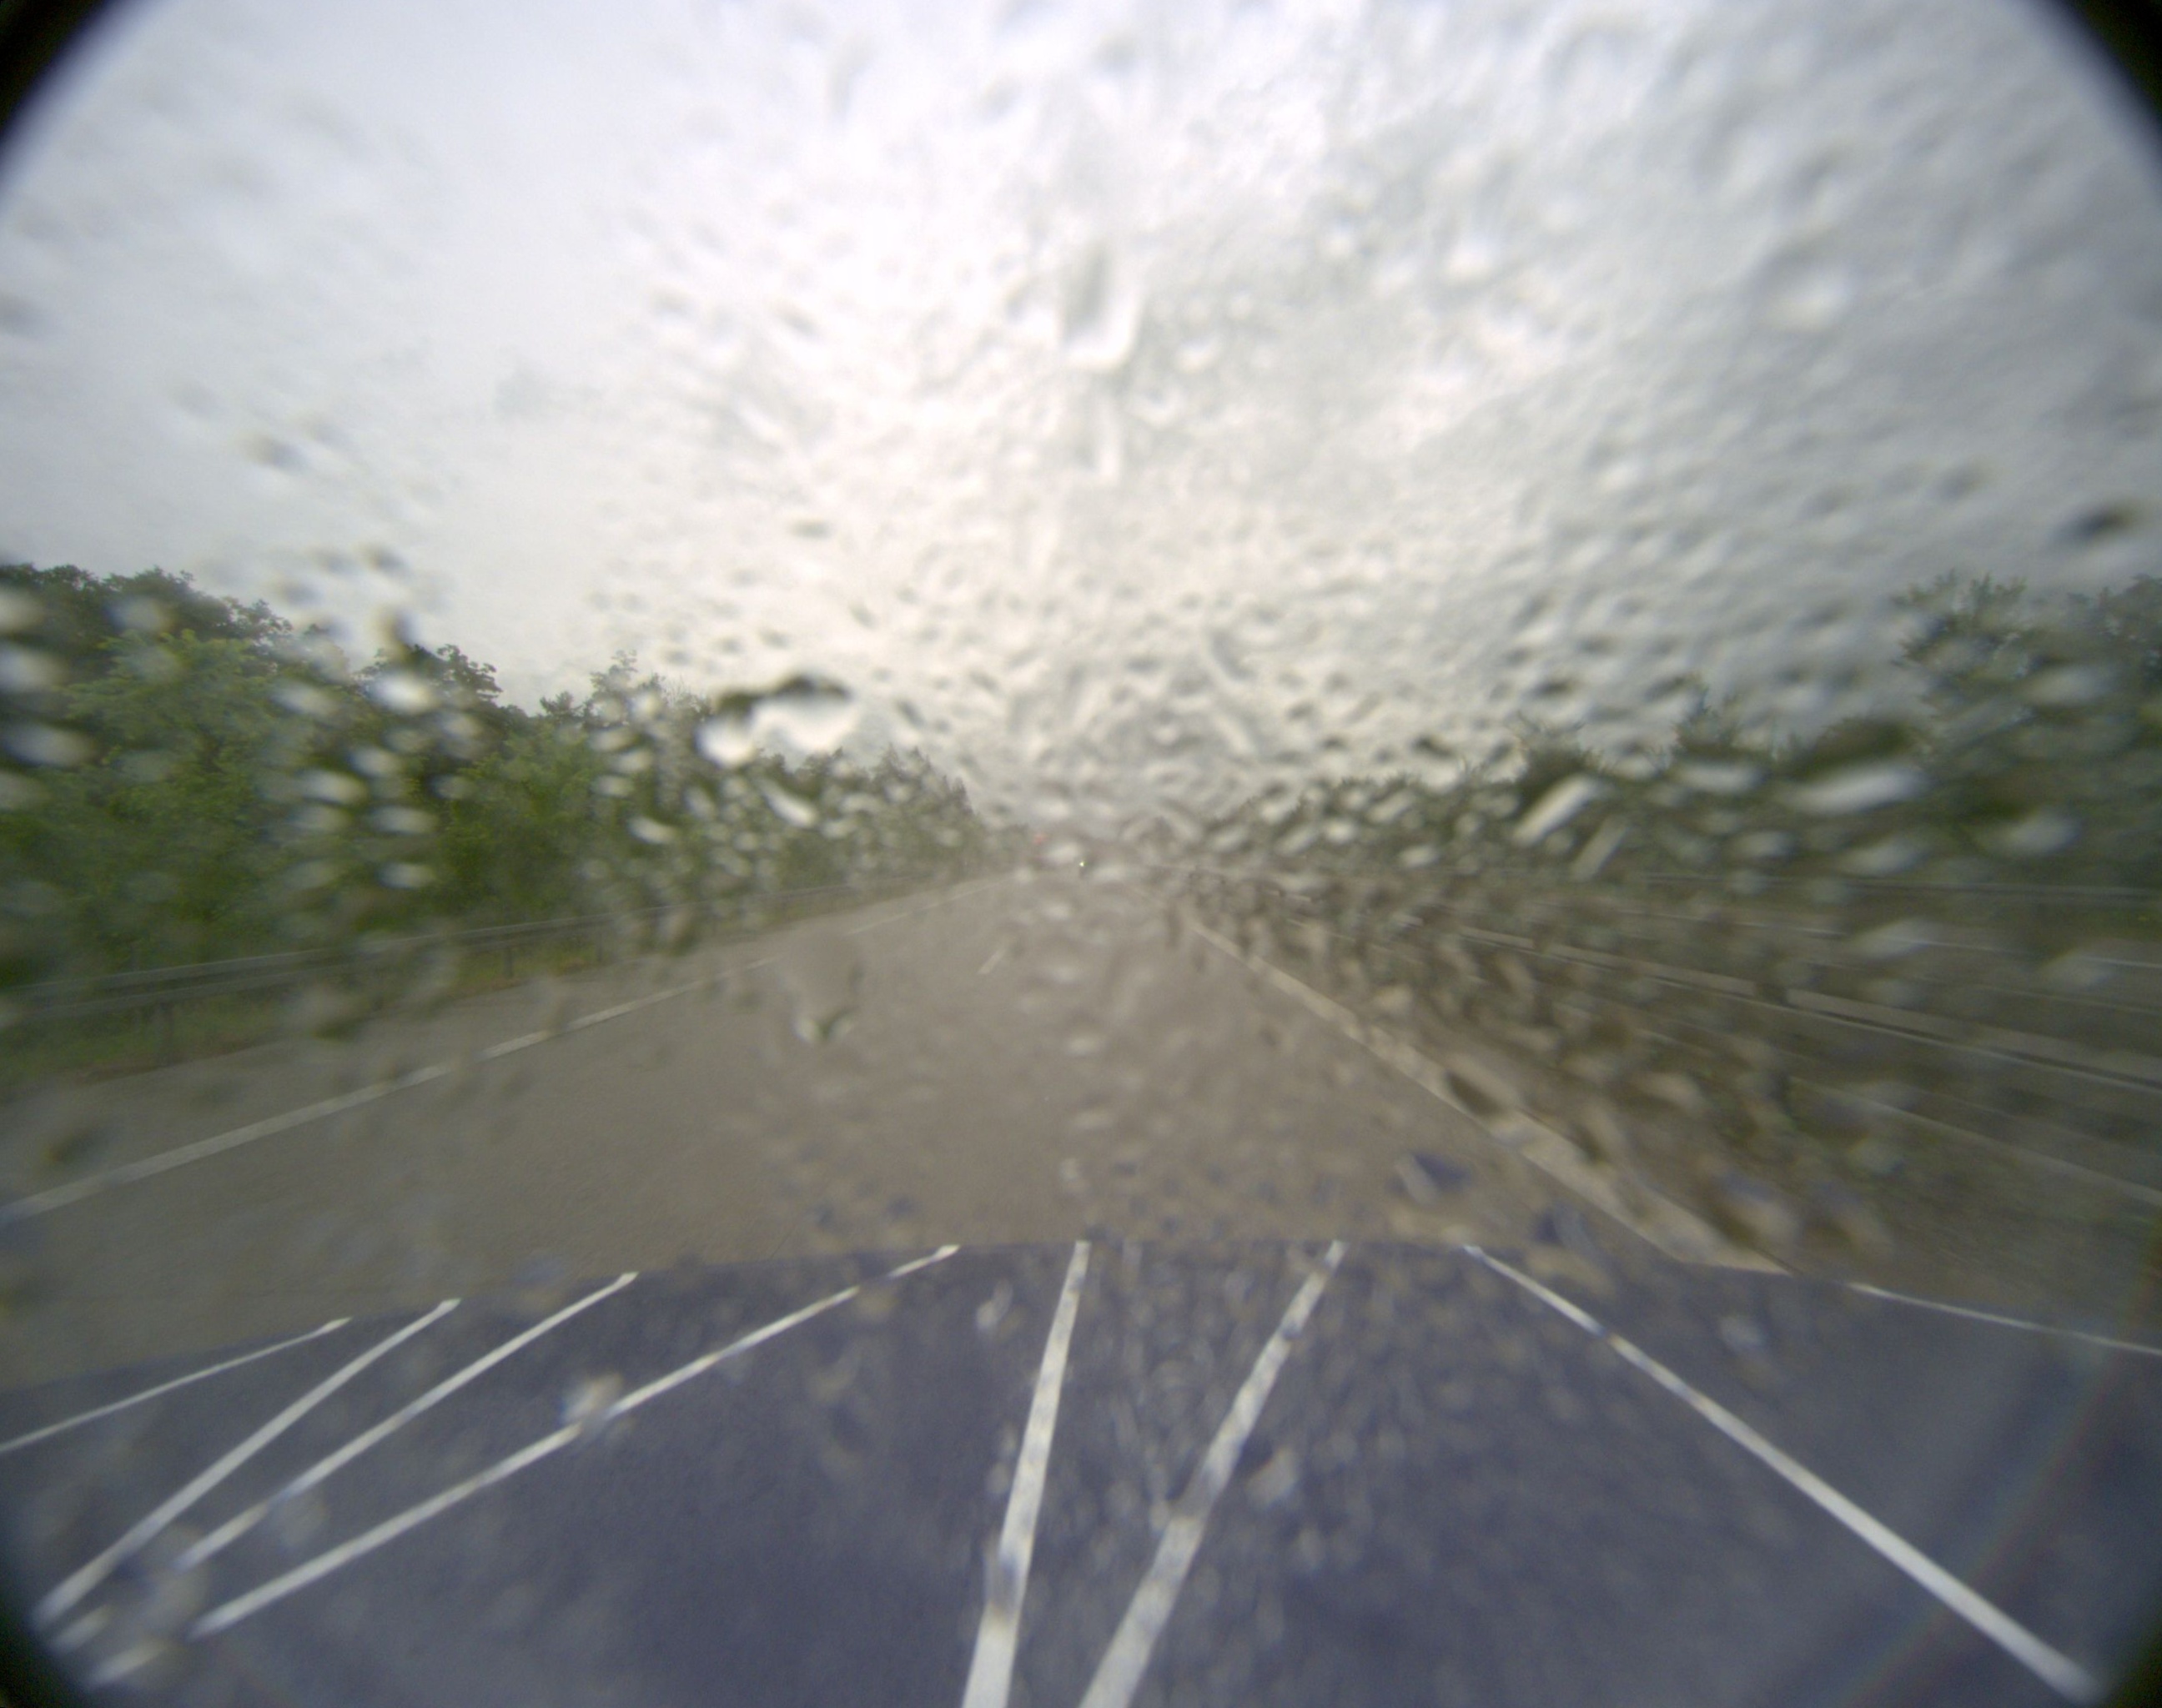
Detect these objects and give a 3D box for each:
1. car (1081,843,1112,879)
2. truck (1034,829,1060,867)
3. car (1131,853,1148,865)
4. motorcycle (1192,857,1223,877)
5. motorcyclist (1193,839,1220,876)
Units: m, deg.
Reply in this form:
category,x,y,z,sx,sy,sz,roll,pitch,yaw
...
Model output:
category,x,y,z,sx,sy,sz,roll,pitch,yaw
car,0.911,0.434,47.652,1.795,2.113,4.524,1,-1,-1
truck,-3.782,-0.637,86.417,2.766,4.063,5.437,1,-1,-1
car,7.666,0.675,100.083,1.799,1.609,4.000,1,-1,-2
motorcycle,7.876,0.812,47.492,1.269,1.136,2.961,-3,1,-2
motorcyclist,7.847,0.232,47.541,1.265,2.216,1.697,-3,1,-2
